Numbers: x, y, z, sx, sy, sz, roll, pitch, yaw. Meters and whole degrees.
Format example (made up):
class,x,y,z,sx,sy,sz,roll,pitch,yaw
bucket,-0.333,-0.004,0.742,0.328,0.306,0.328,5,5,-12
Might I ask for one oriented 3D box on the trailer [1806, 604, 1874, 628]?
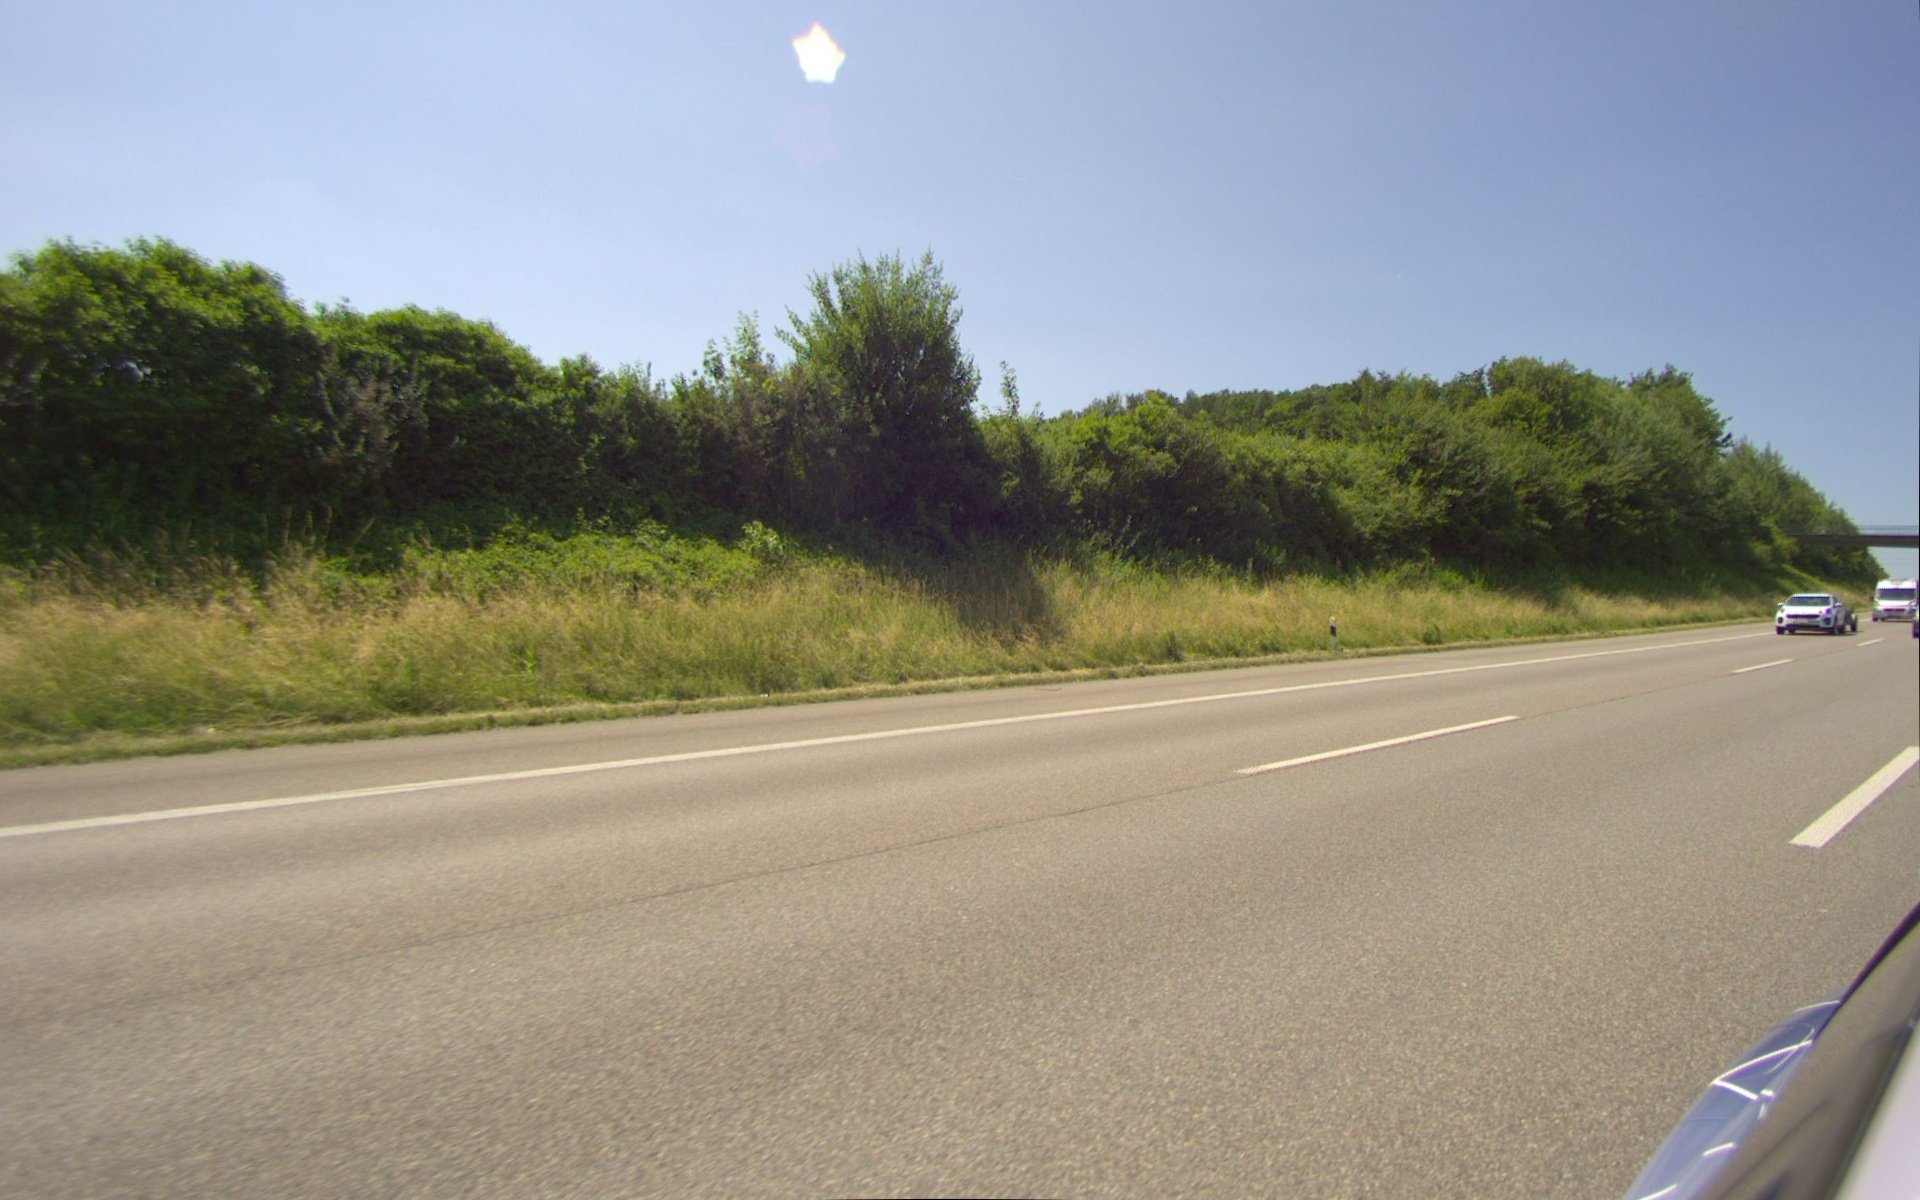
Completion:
class,x,y,z,sx,sy,sz,roll,pitch,yaw
trailer,38.051,0.664,43.710,4.246,0.920,1.756,0,0,-43

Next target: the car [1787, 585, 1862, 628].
class,x,y,z,sx,sy,sz,roll,pitch,yaw
car,34.899,0.269,40.822,4.327,1.672,1.783,1,-1,-42

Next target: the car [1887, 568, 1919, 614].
class,x,y,z,sx,sy,sz,roll,pitch,yaw
car,56.676,-0.488,60.295,2.089,2.609,6.518,0,-1,43
